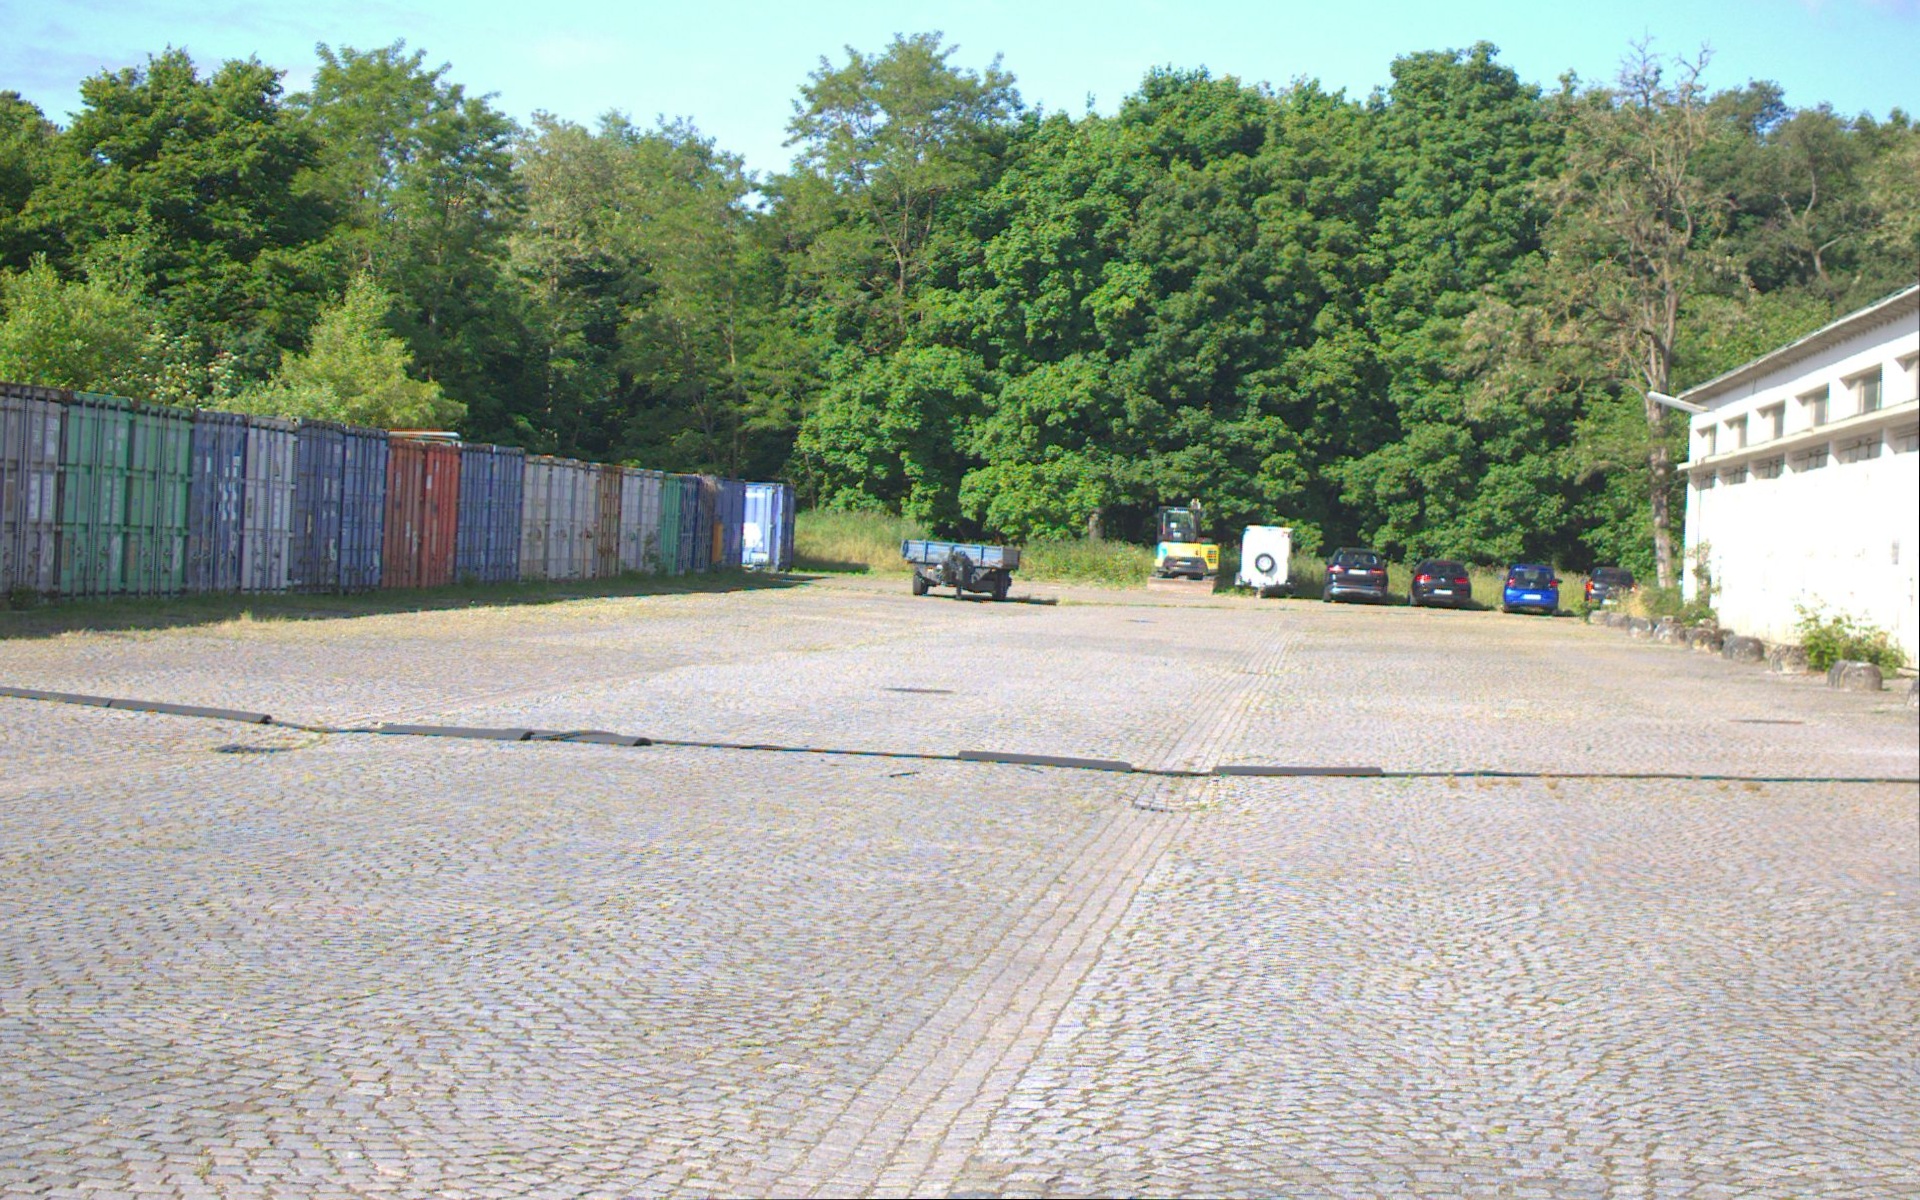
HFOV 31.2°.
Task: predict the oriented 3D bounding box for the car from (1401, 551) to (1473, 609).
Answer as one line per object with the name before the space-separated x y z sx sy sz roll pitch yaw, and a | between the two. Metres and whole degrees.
car | 14.178 -0.619 102.289 1.864 1.465 4.295 5 3 6

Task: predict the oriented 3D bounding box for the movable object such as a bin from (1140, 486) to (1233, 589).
movable object such as a bin | 6.997 -1.963 105.734 2.307 2.886 5.750 5 2 7

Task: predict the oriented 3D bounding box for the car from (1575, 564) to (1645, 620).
car | 19.498 -0.260 103.028 1.745 1.431 4.180 5 3 13

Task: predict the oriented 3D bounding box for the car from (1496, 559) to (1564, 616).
car | 16.914 -0.394 101.910 1.745 1.431 4.181 5 3 11

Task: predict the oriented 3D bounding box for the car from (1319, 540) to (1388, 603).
car | 11.675 -0.866 102.208 1.864 1.583 4.295 5 3 6

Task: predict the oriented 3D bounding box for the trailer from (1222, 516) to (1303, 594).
trailer | 9.270 -1.410 104.878 2.194 2.087 5.750 5 3 6

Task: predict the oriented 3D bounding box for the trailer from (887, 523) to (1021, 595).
trailer | -0.084 -1.059 85.752 2.706 1.460 6.247 5 2 5
